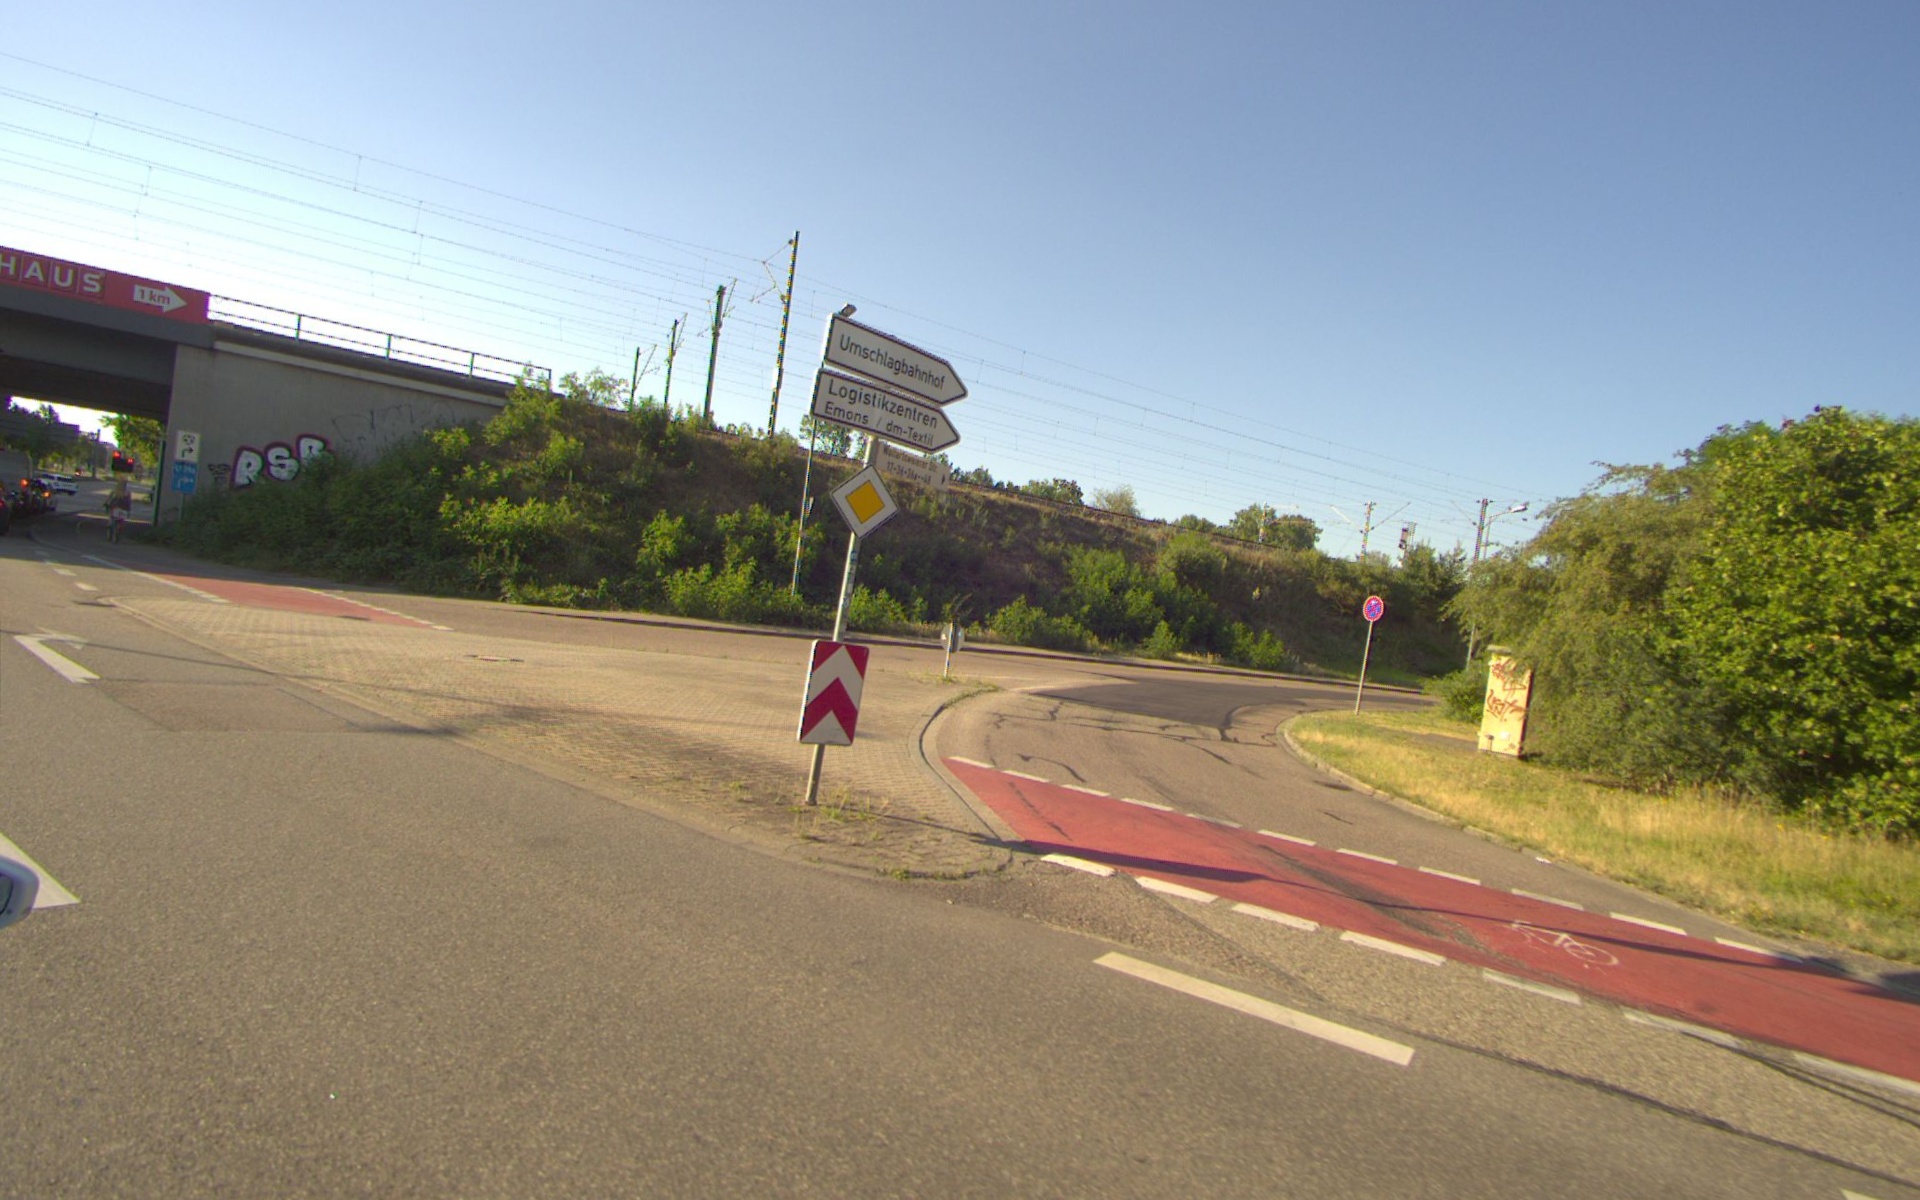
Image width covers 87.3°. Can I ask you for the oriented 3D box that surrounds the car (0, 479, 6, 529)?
[{"bbox_3d":[-27.748,-2.729,27.859,1.736,1.472,4.548,8,0,-43],"label":"car"}]

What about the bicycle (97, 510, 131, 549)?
[{"bbox_3d":[-23.680,-1.988,28.135,0.576,0.975,2.852,7,-1,-42],"label":"bicycle"}]

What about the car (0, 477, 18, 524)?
[{"bbox_3d":[-32.892,-3.433,33.636,1.765,1.514,3.788,6,0,-41],"label":"car"}]

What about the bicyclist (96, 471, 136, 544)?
[{"bbox_3d":[-23.601,-2.584,28.122,0.679,1.930,0.823,7,0,-42],"label":"bicyclist"}]

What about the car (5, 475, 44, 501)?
[{"bbox_3d":[-72.174,-8.626,77.655,1.793,1.624,3.956,7,-1,-39],"label":"car"}]

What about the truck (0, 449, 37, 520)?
[{"bbox_3d":[-37.634,-4.575,39.286,2.103,2.551,4.349,5,1,-42],"label":"truck"}]
